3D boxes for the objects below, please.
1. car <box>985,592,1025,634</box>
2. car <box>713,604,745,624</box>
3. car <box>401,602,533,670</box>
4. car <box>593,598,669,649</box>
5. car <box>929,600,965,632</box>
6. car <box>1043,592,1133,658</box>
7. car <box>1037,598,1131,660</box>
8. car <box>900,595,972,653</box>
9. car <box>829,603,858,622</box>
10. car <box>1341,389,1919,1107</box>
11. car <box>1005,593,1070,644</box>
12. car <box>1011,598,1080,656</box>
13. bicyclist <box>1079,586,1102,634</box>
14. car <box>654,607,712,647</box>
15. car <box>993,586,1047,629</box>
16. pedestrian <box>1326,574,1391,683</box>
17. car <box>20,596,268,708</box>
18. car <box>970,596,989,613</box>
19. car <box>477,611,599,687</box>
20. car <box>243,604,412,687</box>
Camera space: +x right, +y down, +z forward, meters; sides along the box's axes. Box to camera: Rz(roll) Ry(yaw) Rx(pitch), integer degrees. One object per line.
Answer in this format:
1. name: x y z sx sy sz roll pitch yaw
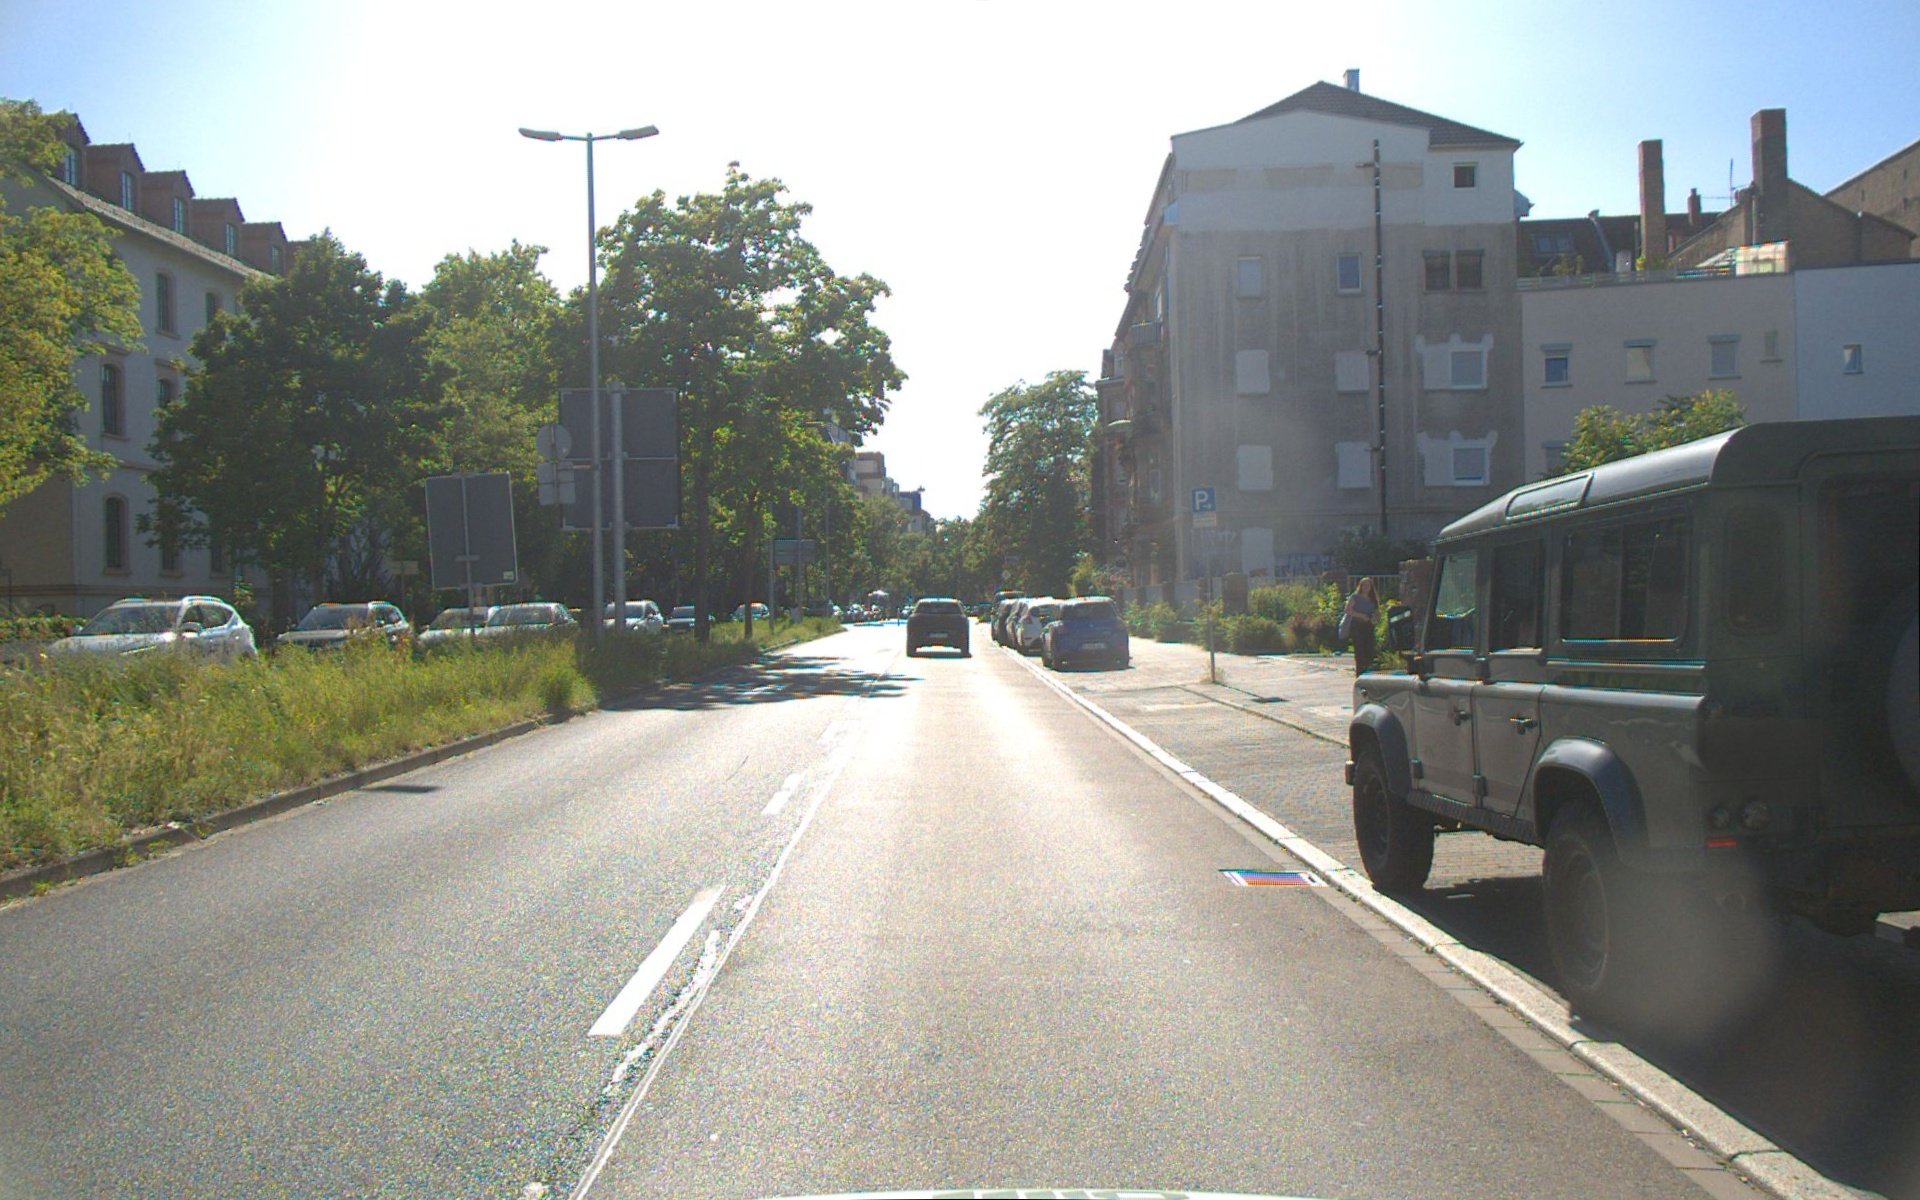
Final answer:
1. car: 2.123 0.572 77.227 1.781 1.876 4.365 -1 0 2
2. car: -20.030 1.199 143.482 1.946 1.691 3.976 -1 0 -20
3. car: -12.088 0.839 40.878 1.801 1.545 4.666 -1 0 0
4. car: -11.600 0.805 58.572 1.862 1.654 4.535 -2 0 -2
5. car: -0.673 0.818 83.595 1.756 1.547 3.848 0 -1 -1
6. car: 3.248 0.601 42.524 1.635 1.485 3.982 -4 0 -4
7. car: 2.780 0.635 37.840 1.635 1.203 3.899 -4 0 -2
8. car: -0.711 0.645 46.769 1.857 1.545 3.997 1 0 -3
9. car: -9.938 1.021 141.347 1.721 1.545 3.862 -1 0 7
10. car: 3.085 0.419 7.173 1.626 2.049 4.775 -2 0 -1
11. car: 2.454 0.565 53.090 1.635 1.545 3.658 -1 0 -4
12. car: 2.414 0.746 47.446 1.576 1.471 3.657 -4 0 -2
13. bicyclist: 4.417 0.323 56.092 0.726 1.608 1.100 0 1 1
14. car: -11.460 1.132 68.599 1.759 1.545 4.085 -3 -1 -2
15. car: 2.063 0.253 57.826 1.634 1.418 3.774 -1 0 -2
16. pedestrian: 6.037 0.422 25.094 0.728 1.611 0.896 -2 0 -1
17. car: -12.321 0.728 25.291 1.759 1.545 4.257 -1 0 -2
18. car: 2.016 0.484 171.008 1.880 1.668 4.001 -1 0 1
19. car: -9.579 1.172 37.840 1.717 1.646 4.321 0 -3 -1
20. car: -12.506 0.907 32.998 1.759 1.546 4.257 0 -2 -1
